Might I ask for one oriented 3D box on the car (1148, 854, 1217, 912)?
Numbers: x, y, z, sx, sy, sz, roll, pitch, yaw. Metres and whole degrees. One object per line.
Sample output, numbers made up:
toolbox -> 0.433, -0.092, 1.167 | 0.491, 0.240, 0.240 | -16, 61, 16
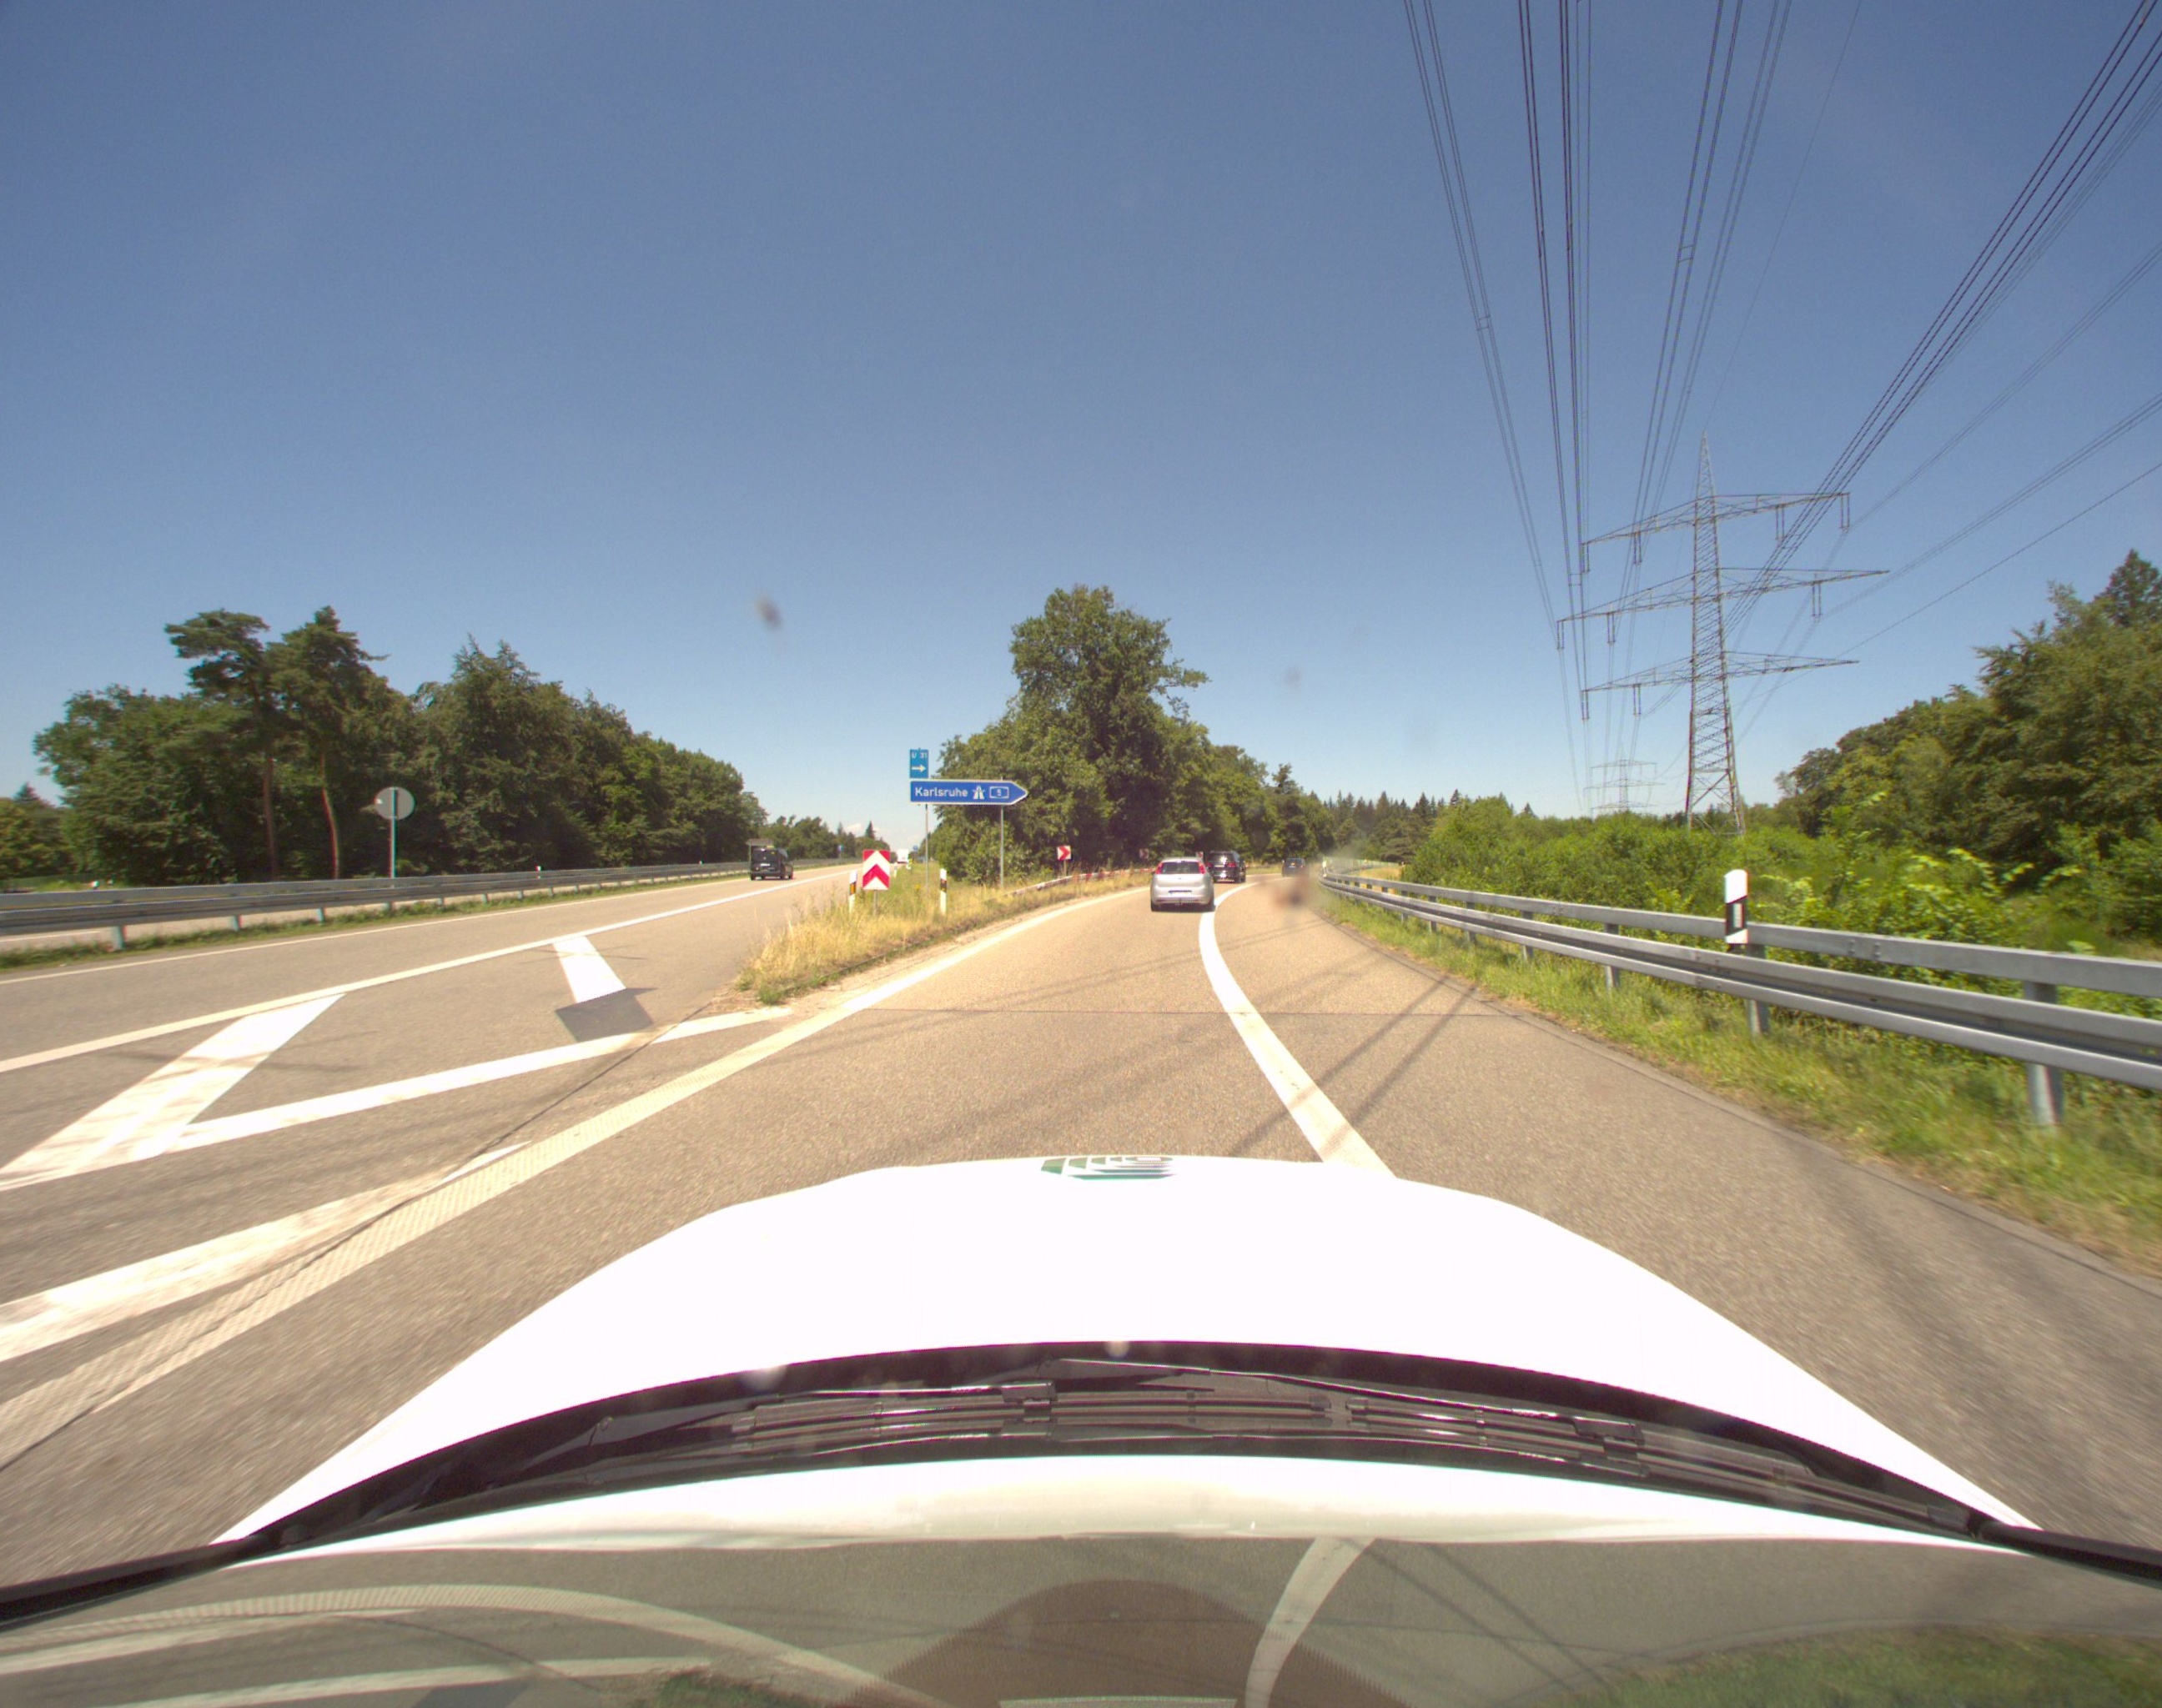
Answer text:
car -> 2.921, 0.757, 22.977 | 1.629, 1.468, 3.430 | 1, 0, 12

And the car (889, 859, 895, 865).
car -> -55.013, 2.291, 236.971 | 1.713, 1.471, 3.561 | 1, 0, -11

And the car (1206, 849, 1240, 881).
car -> 7.860, 0.599, 44.769 | 1.629, 1.654, 3.586 | 1, 0, 13

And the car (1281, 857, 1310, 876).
car -> 16.651, 0.954, 63.145 | 1.626, 1.342, 3.593 | 1, 0, 23

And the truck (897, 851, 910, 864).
truck -> -39.179, 0.715, 179.657 | 2.620, 2.642, 7.637 | -1, 0, -11

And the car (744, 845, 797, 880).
car -> -18.010, 0.455, 47.492 | 1.855, 1.887, 5.553 | -2, 0, -10
